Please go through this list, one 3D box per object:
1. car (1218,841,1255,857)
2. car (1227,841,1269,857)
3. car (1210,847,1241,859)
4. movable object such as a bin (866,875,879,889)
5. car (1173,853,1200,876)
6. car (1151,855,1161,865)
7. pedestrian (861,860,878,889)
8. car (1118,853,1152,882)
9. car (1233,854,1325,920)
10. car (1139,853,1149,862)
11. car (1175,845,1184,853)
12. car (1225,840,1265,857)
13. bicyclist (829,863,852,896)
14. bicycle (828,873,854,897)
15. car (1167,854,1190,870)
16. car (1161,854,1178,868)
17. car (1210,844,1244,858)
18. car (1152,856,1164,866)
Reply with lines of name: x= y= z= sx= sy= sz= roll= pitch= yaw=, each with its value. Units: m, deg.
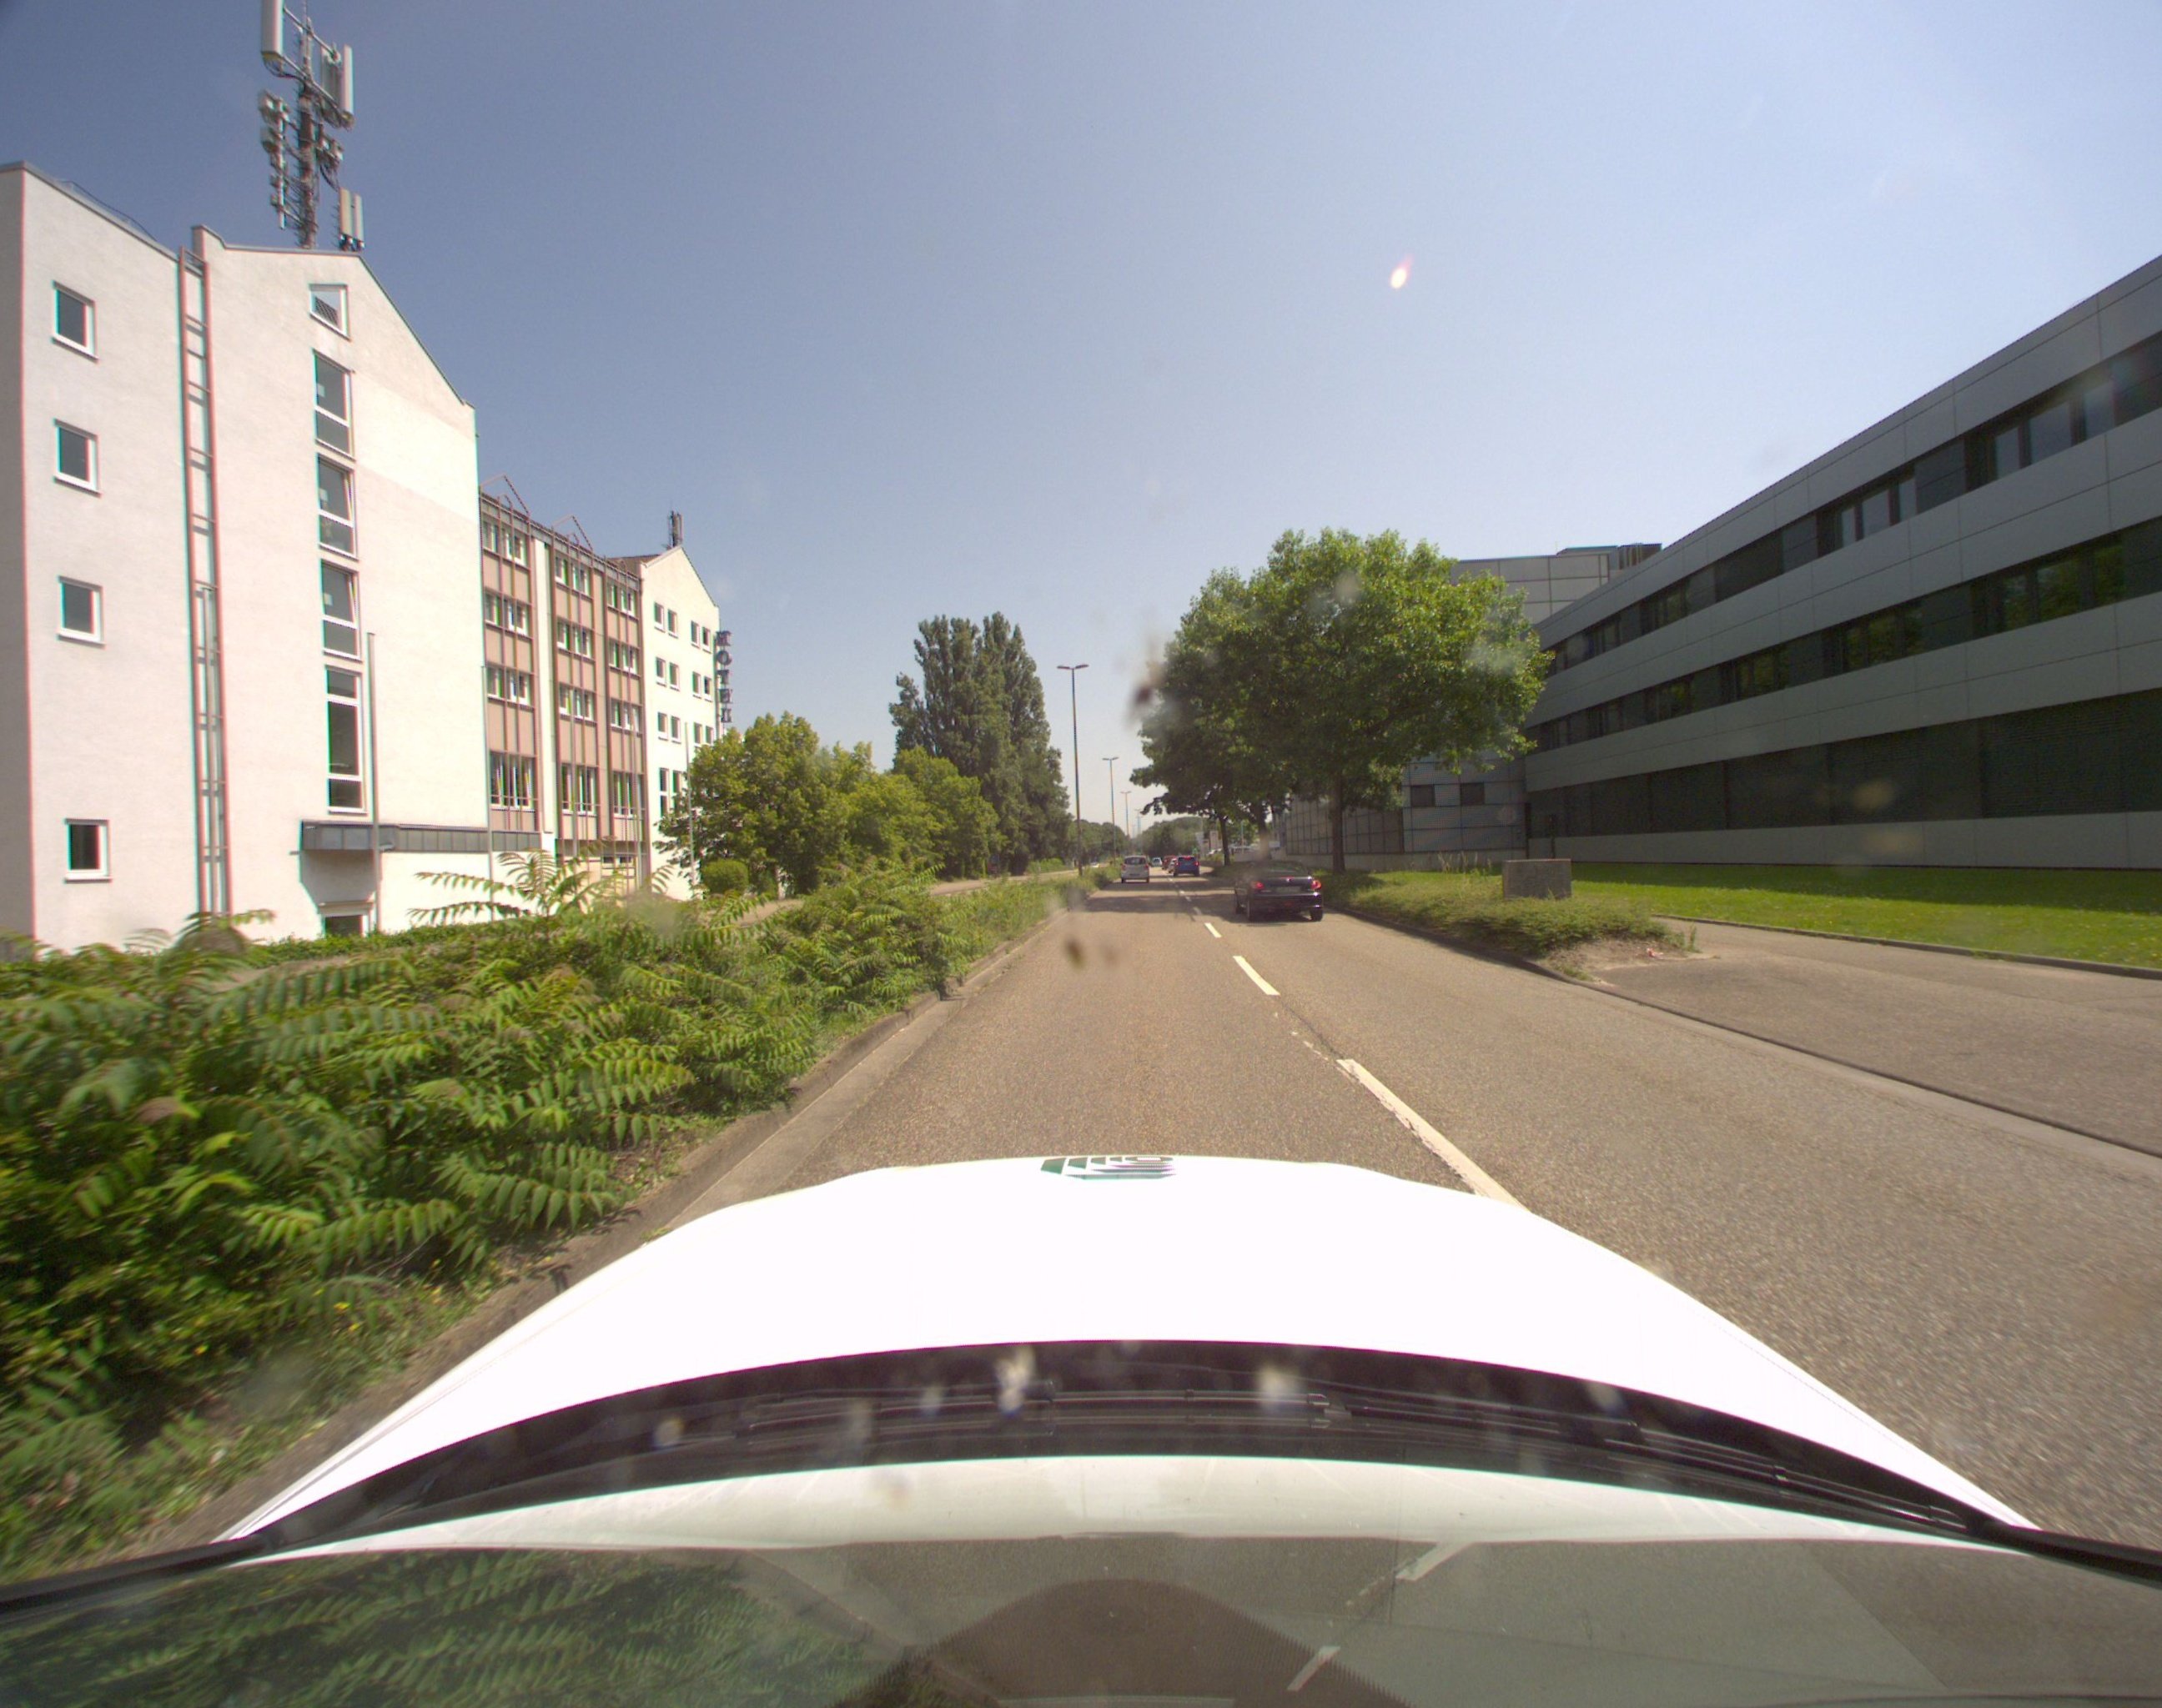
car: x=19.575 y=-0.620 z=102.608 sx=4.208 sy=1.647 sz=2.002 roll=-3 pitch=-1 yaw=4
car: x=19.259 y=-0.566 z=93.858 sx=4.479 sy=1.583 sz=2.002 roll=-3 pitch=-1 yaw=4
car: x=22.040 y=-0.209 z=124.512 sx=4.514 sy=1.544 sz=2.002 roll=-3 pitch=-1 yaw=4
movable object such as a bin: x=-11.644 y=1.557 z=45.574 sx=0.425 sy=0.705 sz=0.654 roll=-3 pitch=-1 yaw=13
car: x=7.939 y=0.805 z=61.154 sx=1.818 sy=1.580 sz=3.613 roll=-3 pitch=-1 yaw=8
car: x=13.661 y=1.106 z=148.206 sx=1.789 sy=1.690 sz=4.005 roll=-3 pitch=-1 yaw=5
pedestrian: x=-11.937 y=1.148 z=46.000 sx=0.630 sy=1.545 sz=0.728 roll=-3 pitch=-1 yaw=4
car: x=3.126 y=0.746 z=46.942 sx=1.739 sy=1.520 sz=3.752 roll=-1 pitch=0 yaw=6
car: x=4.610 y=0.724 z=19.366 sx=1.619 sy=1.364 sz=3.611 roll=-1 pitch=0 yaw=6
car: x=12.828 y=0.714 z=165.489 sx=1.813 sy=1.662 sz=4.001 roll=-3 pitch=1 yaw=1
car: x=24.713 y=-1.288 z=204.351 sx=1.763 sy=2.013 sz=3.992 roll=-3 pitch=0 yaw=2
car: x=17.880 y=-0.605 z=89.002 sx=3.973 sy=1.618 sz=2.001 roll=-3 pitch=0 yaw=1
bicyclist: x=-11.689 y=1.233 z=39.612 sx=0.715 sy=1.516 sz=1.027 roll=-3 pitch=0 yaw=1
bicycle: x=-11.662 y=1.478 z=39.599 sx=0.548 sy=1.073 sz=2.064 roll=-2 pitch=0 yaw=2
car: x=9.486 y=0.772 z=79.750 sx=1.984 sy=1.442 sz=4.005 roll=-3 pitch=-1 yaw=4
car: x=11.418 y=0.910 z=105.174 sx=1.769 sy=1.740 sz=4.002 roll=-3 pitch=-1 yaw=2
car: x=19.540 y=-0.351 z=109.001 sx=4.208 sy=1.647 sz=2.002 roll=-3 pitch=-1 yaw=4
car: x=13.098 y=1.167 z=138.234 sx=1.811 sy=1.662 sz=4.004 roll=-3 pitch=0 yaw=4
